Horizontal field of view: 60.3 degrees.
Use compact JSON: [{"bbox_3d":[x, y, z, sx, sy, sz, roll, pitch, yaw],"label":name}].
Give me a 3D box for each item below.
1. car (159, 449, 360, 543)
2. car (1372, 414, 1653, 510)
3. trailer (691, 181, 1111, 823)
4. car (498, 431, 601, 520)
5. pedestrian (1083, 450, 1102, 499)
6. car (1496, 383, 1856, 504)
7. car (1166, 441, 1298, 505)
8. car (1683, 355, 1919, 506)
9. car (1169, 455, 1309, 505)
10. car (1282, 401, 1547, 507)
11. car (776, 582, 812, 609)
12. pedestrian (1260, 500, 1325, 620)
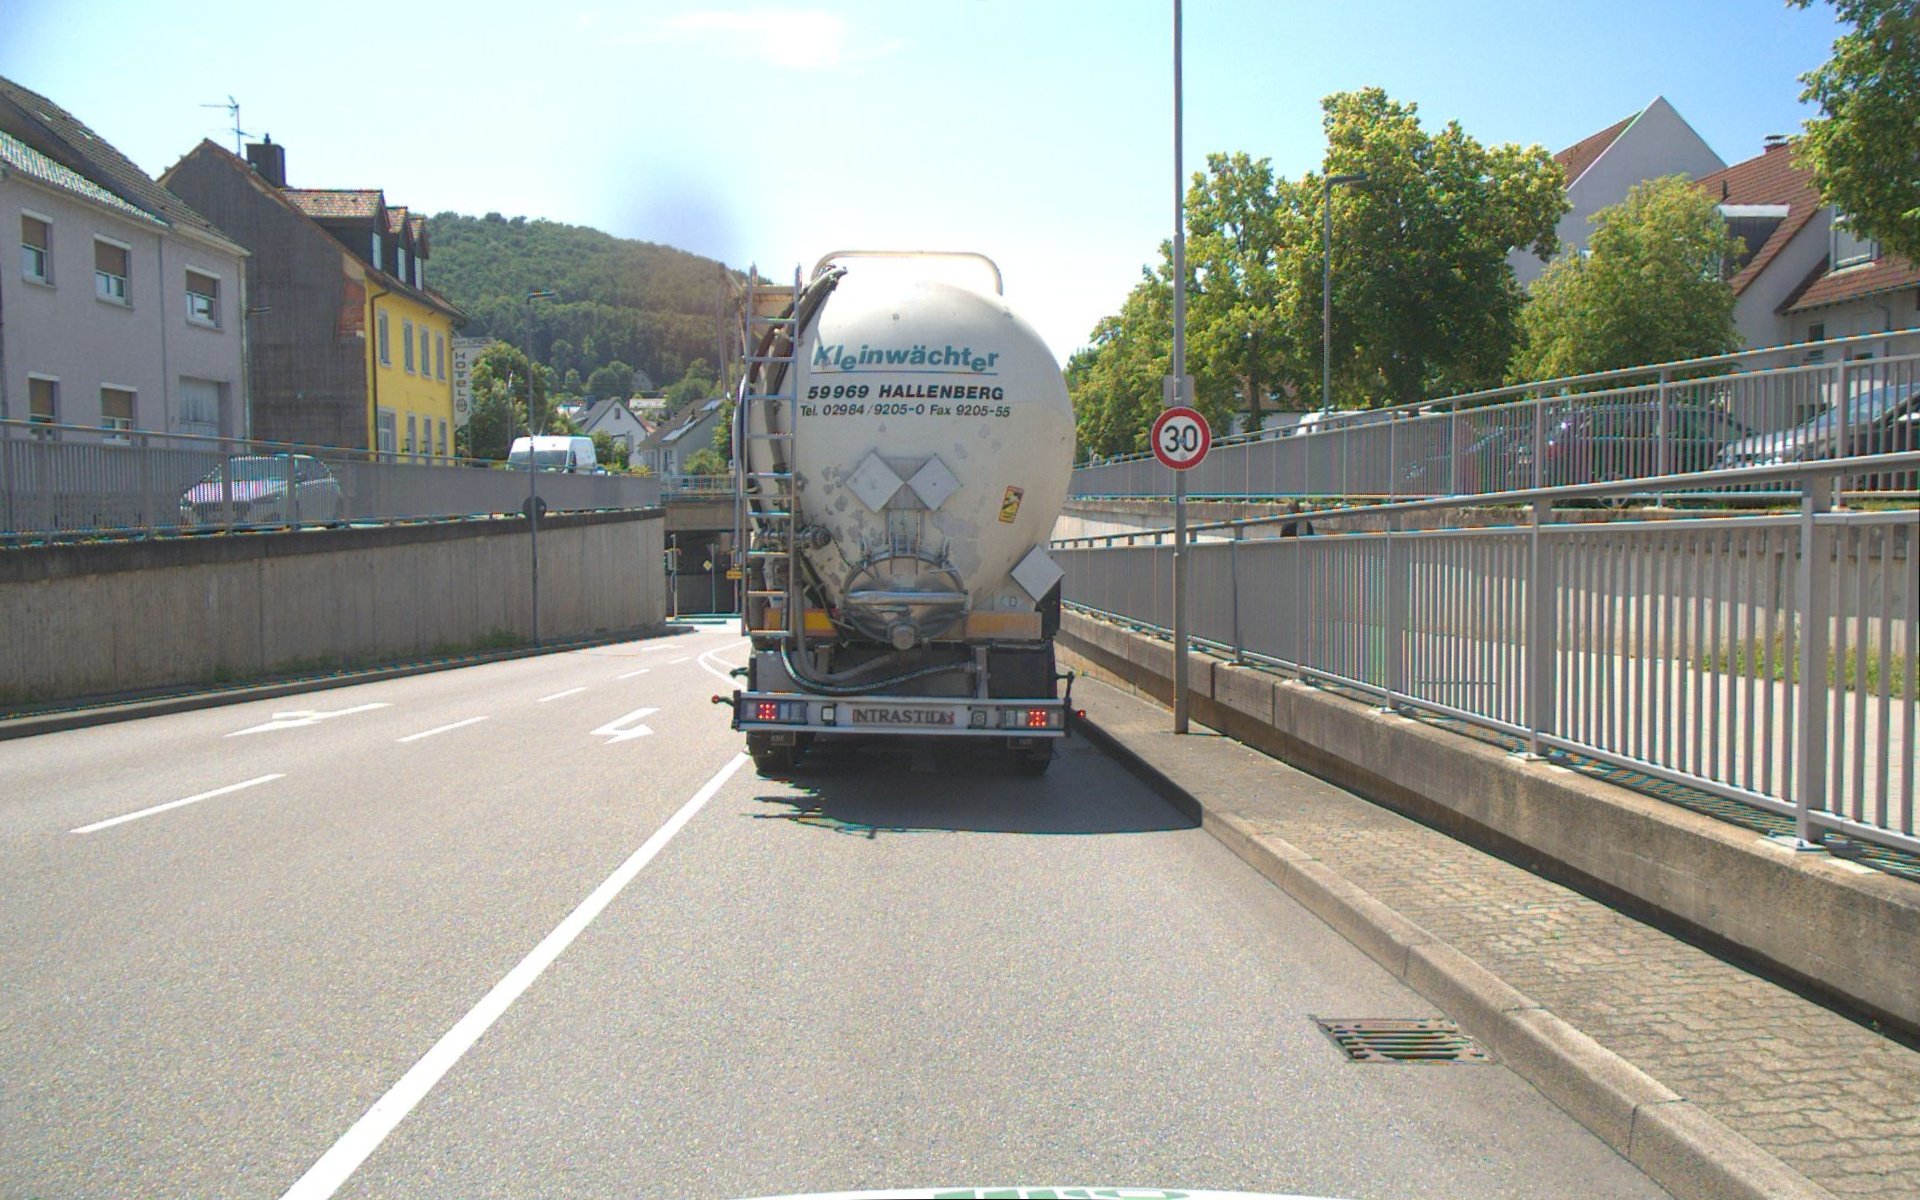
[{"bbox_3d":[-12.068,-1.809,28.810,1.777,1.487,4.309,1,4,-2],"label":"car"},{"bbox_3d":[9.318,-2.326,28.115,4.198,1.524,1.749,-1,3,-1],"label":"car"},{"bbox_3d":[-0.506,-0.671,17.425,2.679,4.135,13.310,1,0,-1],"label":"trailer"},{"bbox_3d":[-12.688,-3.837,51.507,2.024,2.580,5.660,1,3,-3],"label":"car"},{"bbox_3d":[5.039,-4.773,62.991,0.659,1.810,0.594,-1,3,0],"label":"pedestrian"},{"bbox_3d":[9.562,-2.076,22.296,4.119,1.524,1.686,-1,3,-1],"label":"car"},{"bbox_3d":[8.449,-3.951,51.507,3.826,1.917,1.686,-1,3,-1],"label":"car"},{"bbox_3d":[10.143,-1.805,17.851,3.906,1.524,1.749,-1,3,-1],"label":"car"},{"bbox_3d":[8.220,-3.533,48.909,3.826,1.391,1.686,-1,3,-1],"label":"car"},{"bbox_3d":[9.431,-3.024,34.622,5.008,2.099,1.989,-1,3,-1],"label":"car"},{"bbox_3d":[-9.566,-0.277,95.354,1.725,1.515,4.367,0,0,-1],"label":"car"},{"bbox_3d":[5.110,-0.616,25.443,0.819,1.813,0.788,-1,1,-2],"label":"pedestrian"}]
